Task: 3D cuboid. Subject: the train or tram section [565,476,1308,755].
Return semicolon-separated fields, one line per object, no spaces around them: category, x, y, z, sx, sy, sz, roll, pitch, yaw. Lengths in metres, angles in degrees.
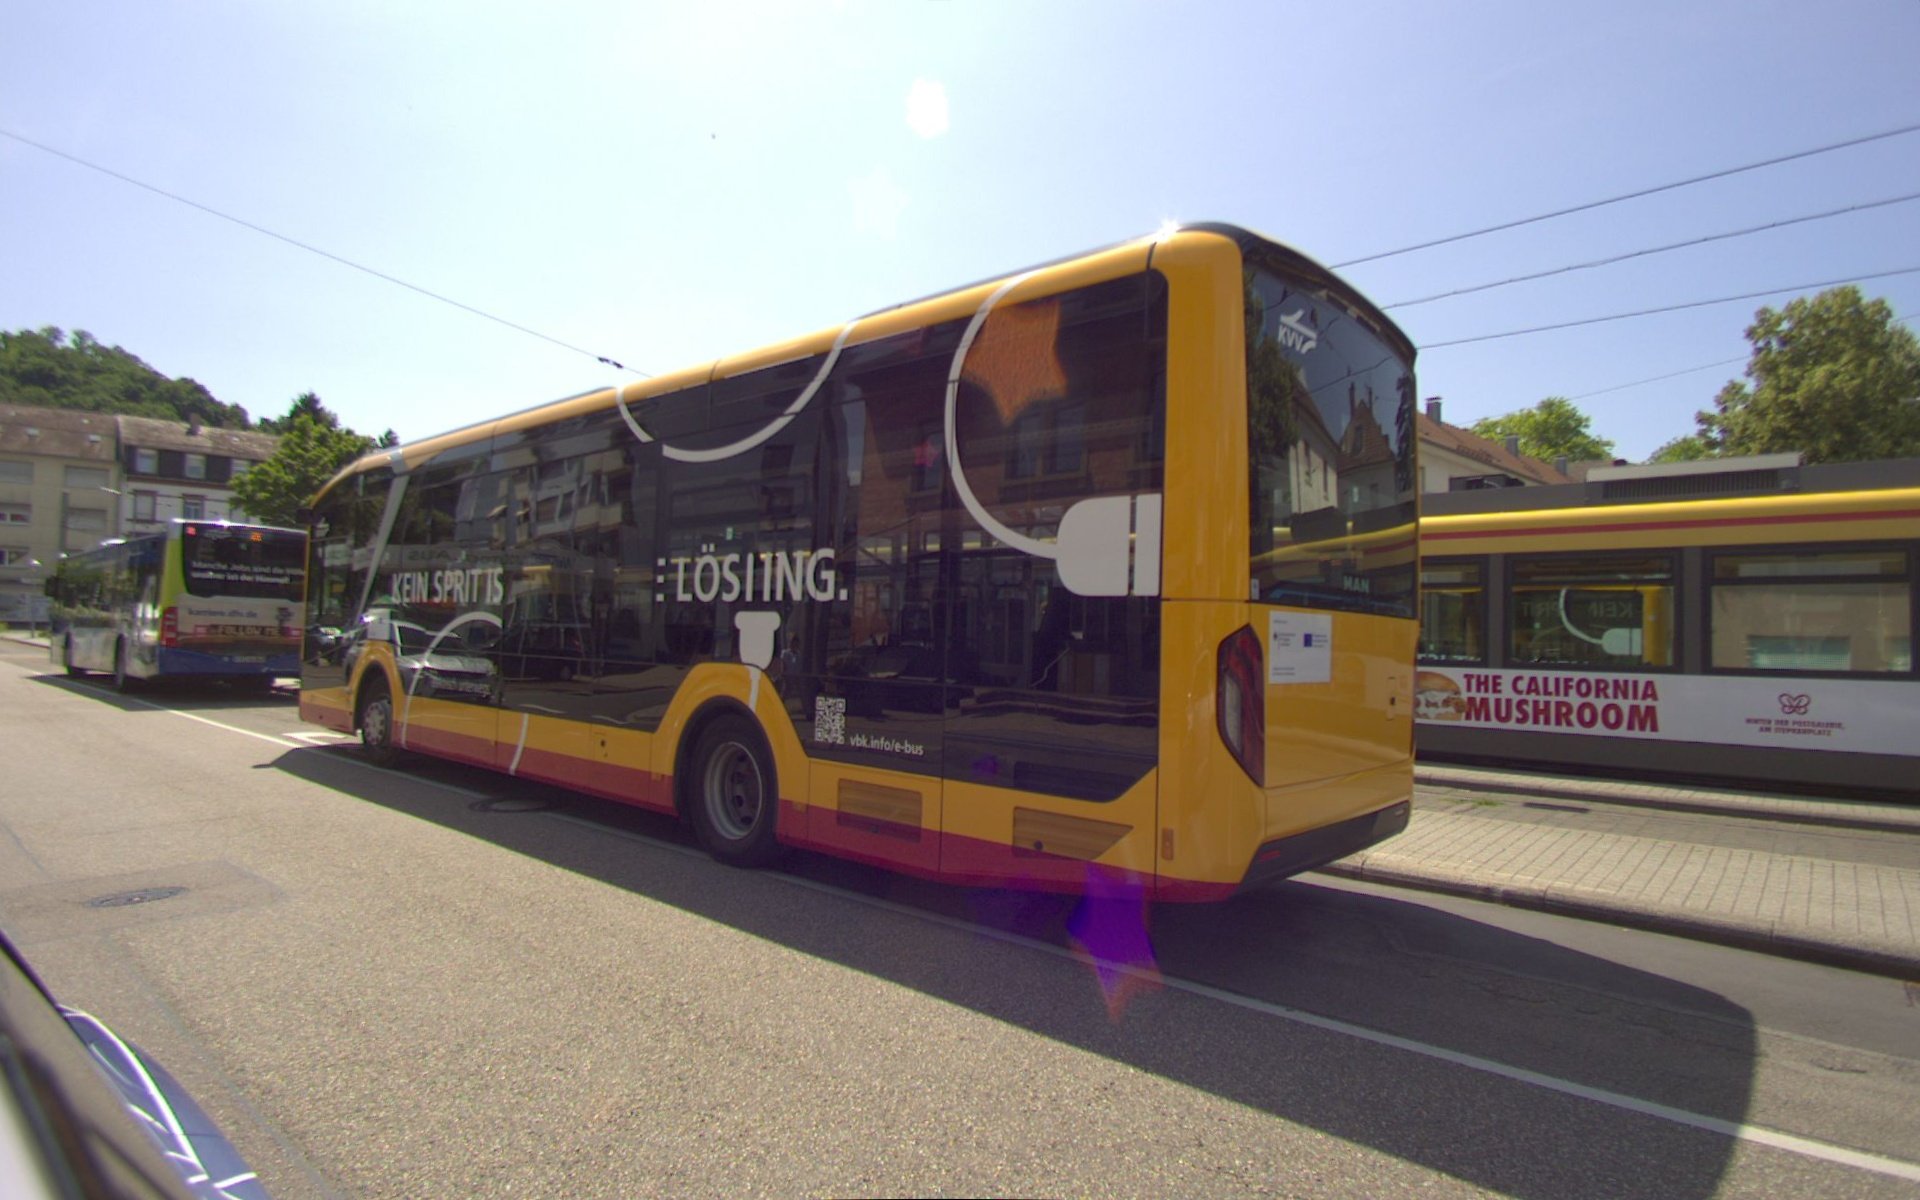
train or tram section;-2.144;0.280;20.127;17.342;3.670;2.932;-1;-1;41

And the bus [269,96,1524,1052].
bus;-2.367;-0.134;8.595;12.192;3.272;2.867;1;0;42

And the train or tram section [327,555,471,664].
train or tram section;-19.662;0.382;35.433;4.415;3.522;2.932;-1;-4;41

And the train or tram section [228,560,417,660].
train or tram section;-26.005;0.420;40.830;12.706;3.522;2.932;-1;-1;41

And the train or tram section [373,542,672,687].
train or tram section;-13.359;0.413;29.876;12.650;3.522;2.932;-1;-1;41

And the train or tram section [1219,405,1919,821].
train or tram section;9.641;0.124;9.880;13.986;3.670;2.932;-1;-1;41

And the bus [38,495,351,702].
bus;-16.940;0.119;21.838;12.031;3.453;2.878;-2;-2;41
